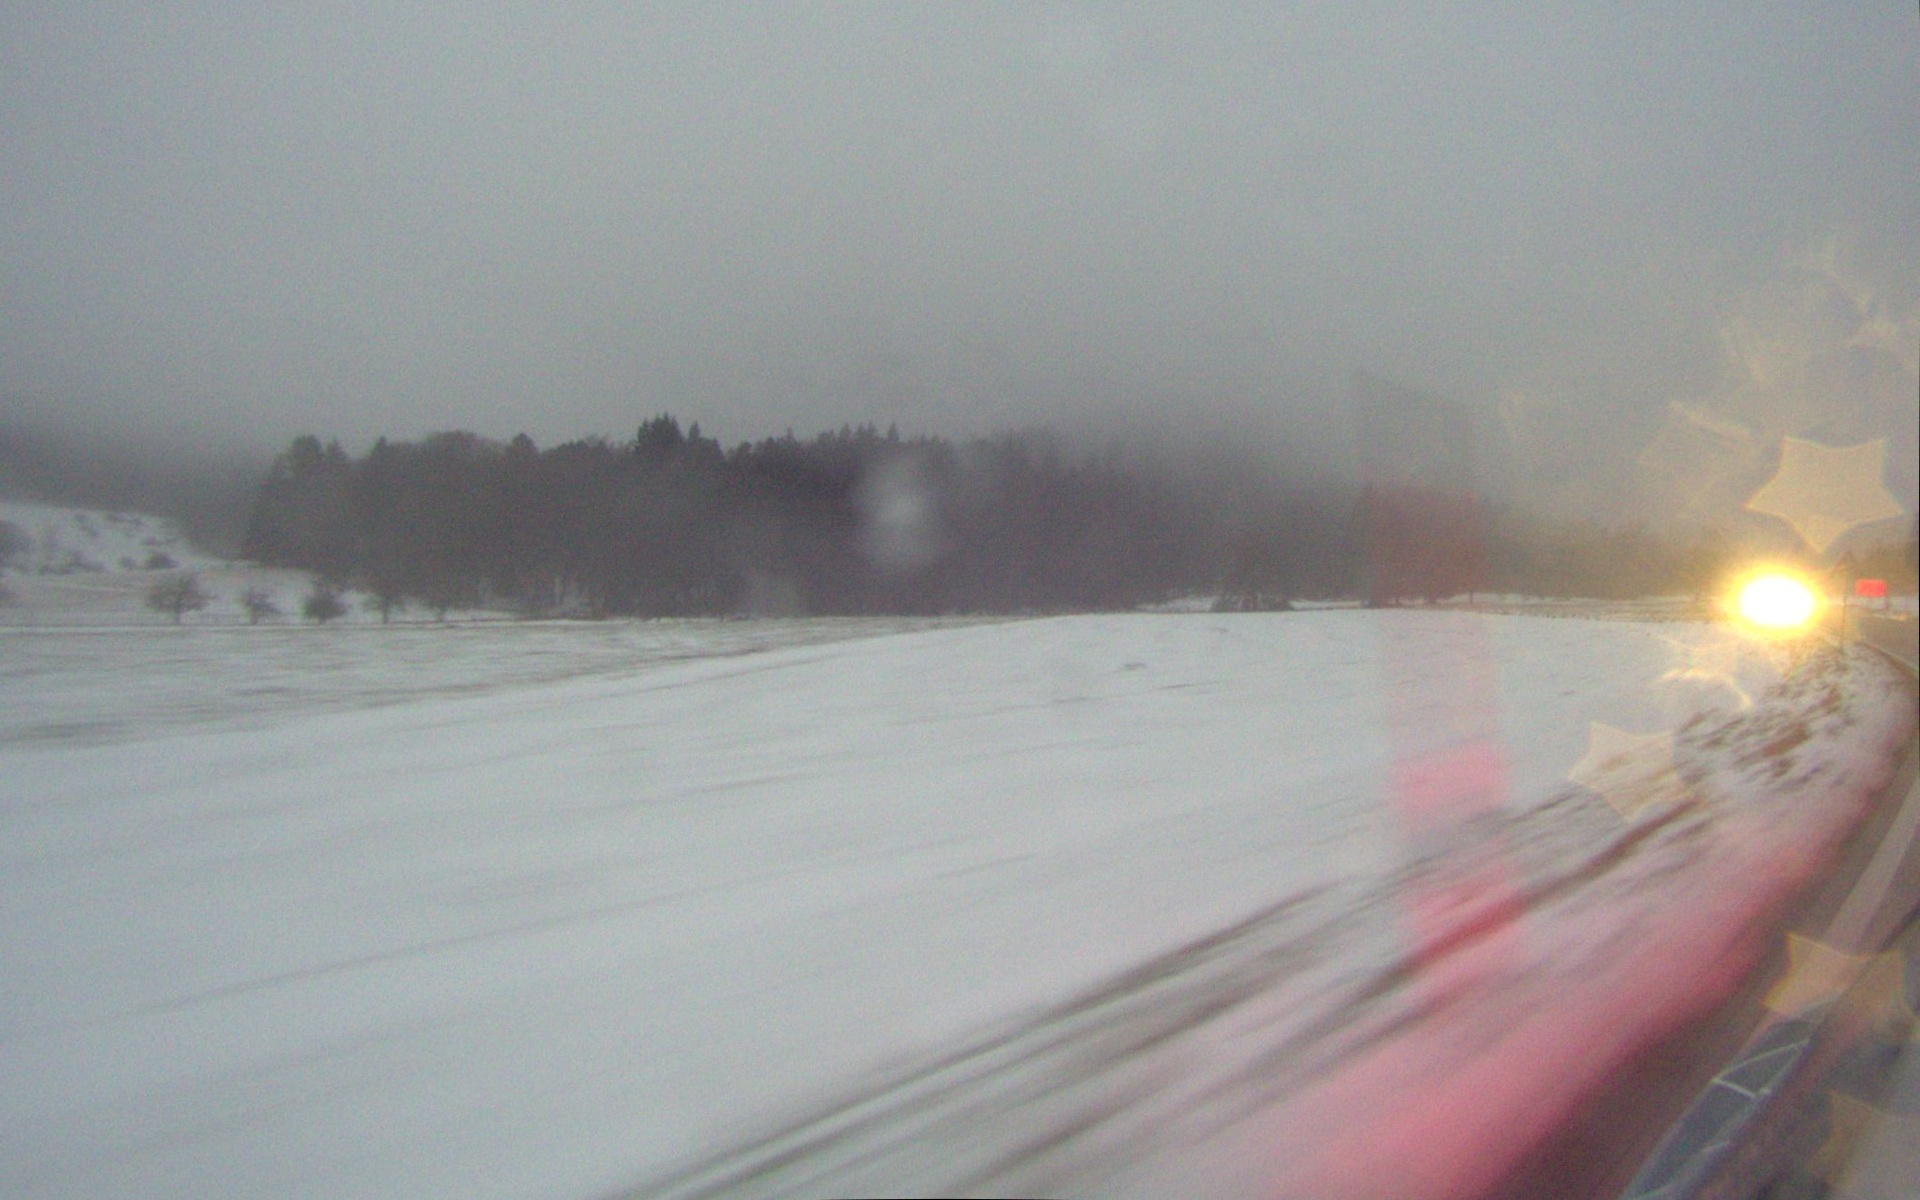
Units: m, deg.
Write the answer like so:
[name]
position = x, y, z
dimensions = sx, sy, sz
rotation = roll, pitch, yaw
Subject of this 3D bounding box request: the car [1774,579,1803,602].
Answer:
[car]
position = 74.334, -0.851, 90.770
dimensions = 1.991, 2.039, 3.942
rotation = -1, 1, 40
